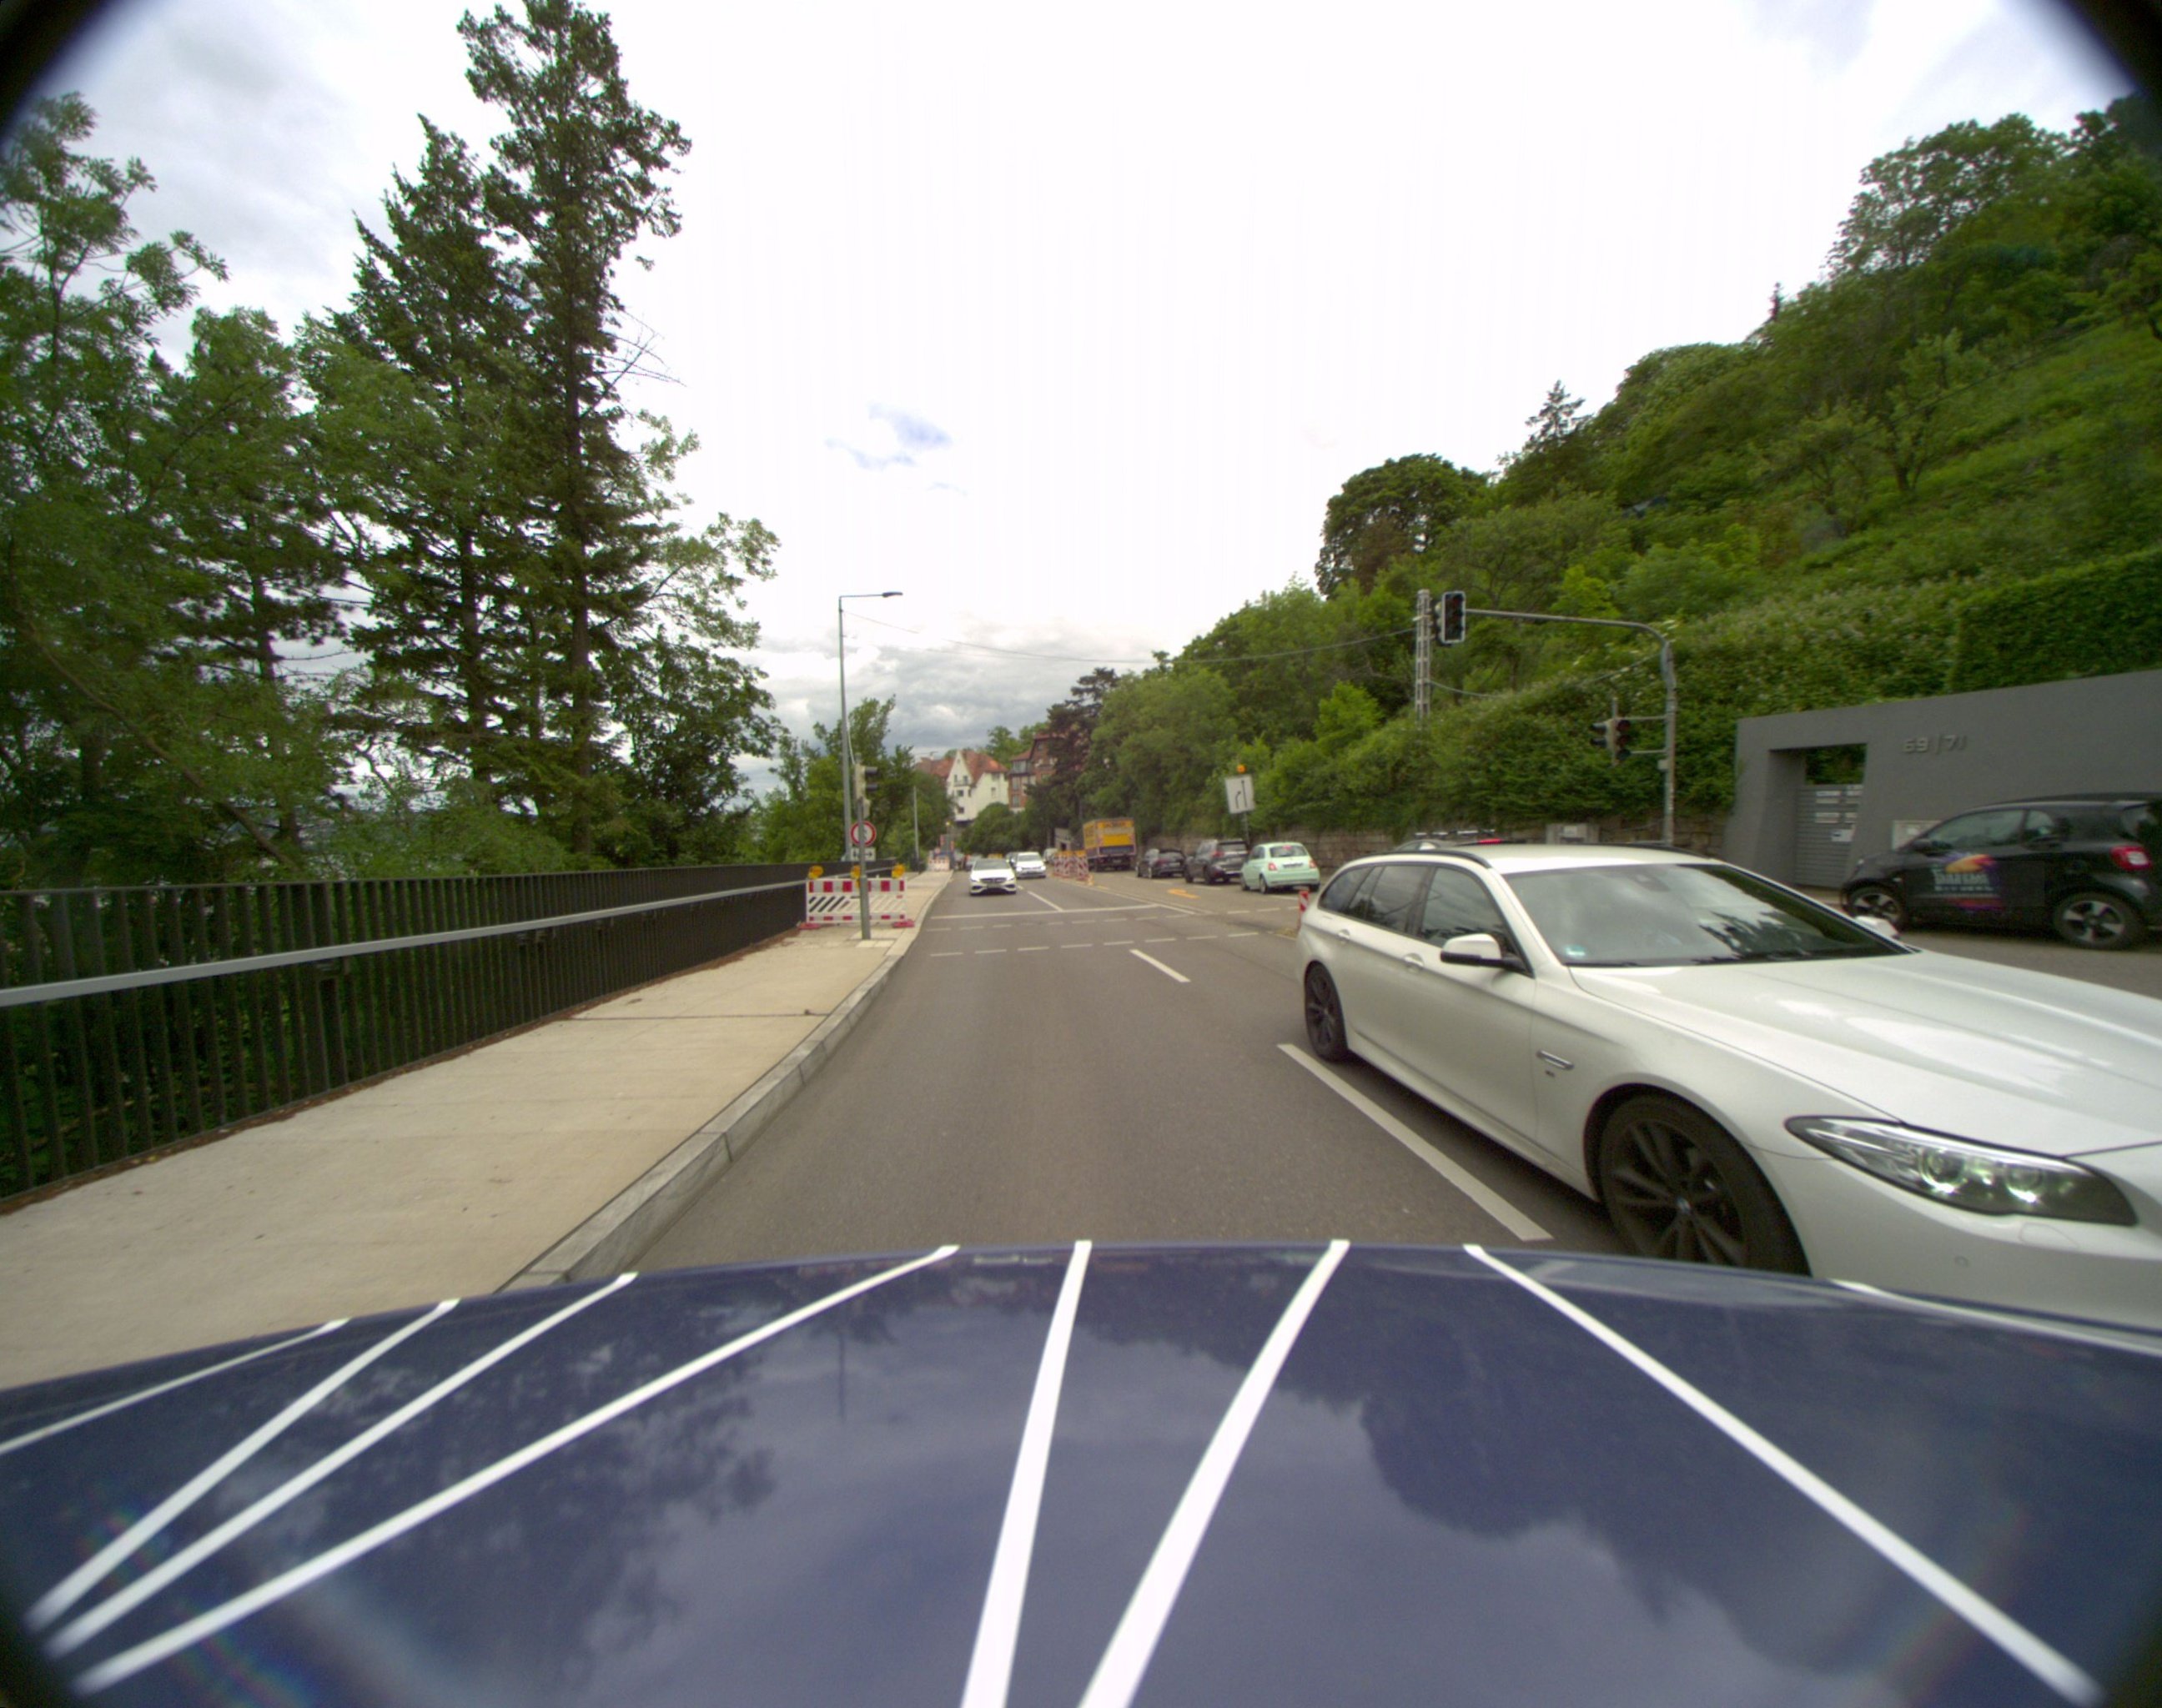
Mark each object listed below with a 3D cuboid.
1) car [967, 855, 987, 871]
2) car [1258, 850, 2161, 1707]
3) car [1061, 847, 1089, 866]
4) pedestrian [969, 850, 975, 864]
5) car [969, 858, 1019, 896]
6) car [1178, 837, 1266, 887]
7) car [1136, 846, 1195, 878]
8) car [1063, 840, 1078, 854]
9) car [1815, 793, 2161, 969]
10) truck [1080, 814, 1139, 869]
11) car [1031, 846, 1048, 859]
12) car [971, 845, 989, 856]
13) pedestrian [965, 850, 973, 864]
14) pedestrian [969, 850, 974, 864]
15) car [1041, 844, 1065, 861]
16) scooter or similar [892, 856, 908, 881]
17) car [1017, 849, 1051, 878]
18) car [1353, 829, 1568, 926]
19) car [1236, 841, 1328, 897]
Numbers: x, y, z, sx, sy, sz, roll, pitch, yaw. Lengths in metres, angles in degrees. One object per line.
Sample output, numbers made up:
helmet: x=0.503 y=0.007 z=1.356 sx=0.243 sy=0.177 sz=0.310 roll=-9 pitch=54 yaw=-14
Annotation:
car: x=-10.248 y=0.894 z=75.035 sx=1.846 sy=1.447 sz=4.624 roll=-3 pitch=1 yaw=-8
car: x=2.593 y=0.787 z=3.818 sx=1.853 sy=1.458 sz=4.876 roll=-4 pitch=1 yaw=-4
car: x=-0.582 y=0.194 z=67.618 sx=1.776 sy=1.433 sz=4.741 roll=-4 pitch=1 yaw=-9
pedestrian: x=-14.111 y=0.412 z=98.315 sx=0.641 sy=1.848 sz=0.833 roll=0 pitch=0 yaw=-19
car: x=-3.467 y=0.880 z=30.517 sx=1.799 sy=1.299 sz=4.098 roll=-3 pitch=1 yaw=-6
car: x=5.361 y=0.278 z=29.623 sx=1.889 sy=1.687 sz=4.667 roll=-3 pitch=1 yaw=-8
car: x=4.169 y=0.355 z=38.208 sx=1.815 sy=1.421 sz=4.871 roll=-3 pitch=1 yaw=-7
car: x=-1.561 y=-1.059 z=113.138 sx=1.573 sy=1.596 sz=3.582 roll=-4 pitch=5 yaw=-9
car: x=10.702 y=0.225 z=8.583 sx=1.716 sy=1.564 sz=2.956 roll=-6 pitch=0 yaw=-8
truck: x=1.856 y=-0.882 z=53.325 sx=2.740 sy=3.490 sz=7.344 roll=-3 pitch=1 yaw=-8
car: x=-5.792 y=-0.228 z=105.924 sx=1.837 sy=1.583 sz=4.650 roll=-4 pitch=1 yaw=-8
car: x=-18.206 y=-0.629 z=136.824 sx=1.772 sy=1.587 sz=3.782 roll=-9 pitch=4 yaw=-32
pedestrian: x=-14.883 y=0.437 z=100.686 sx=0.717 sy=1.873 sz=0.620 roll=-4 pitch=-2 yaw=41
pedestrian: x=-14.348 y=0.434 z=99.510 sx=0.527 sy=1.832 sz=0.795 roll=0 pitch=0 yaw=-19
car: x=-3.280 y=-0.162 z=88.148 sx=1.809 sy=1.780 sz=4.336 roll=-4 pitch=1 yaw=-14
scooter or similar: x=-9.021 y=0.737 z=37.877 sx=0.536 sy=1.219 sz=1.206 roll=-1 pitch=0 yaw=-2
car: x=-2.881 y=0.542 z=46.094 sx=1.886 sy=1.569 sz=3.998 roll=-4 pitch=1 yaw=-4
car: x=7.341 y=0.381 z=15.226 sx=1.716 sy=1.588 sz=4.203 roll=-3 pitch=1 yaw=-8
car: x=5.980 y=0.412 z=23.022 sx=1.715 sy=1.458 sz=3.660 roll=-4 pitch=1 yaw=-1
